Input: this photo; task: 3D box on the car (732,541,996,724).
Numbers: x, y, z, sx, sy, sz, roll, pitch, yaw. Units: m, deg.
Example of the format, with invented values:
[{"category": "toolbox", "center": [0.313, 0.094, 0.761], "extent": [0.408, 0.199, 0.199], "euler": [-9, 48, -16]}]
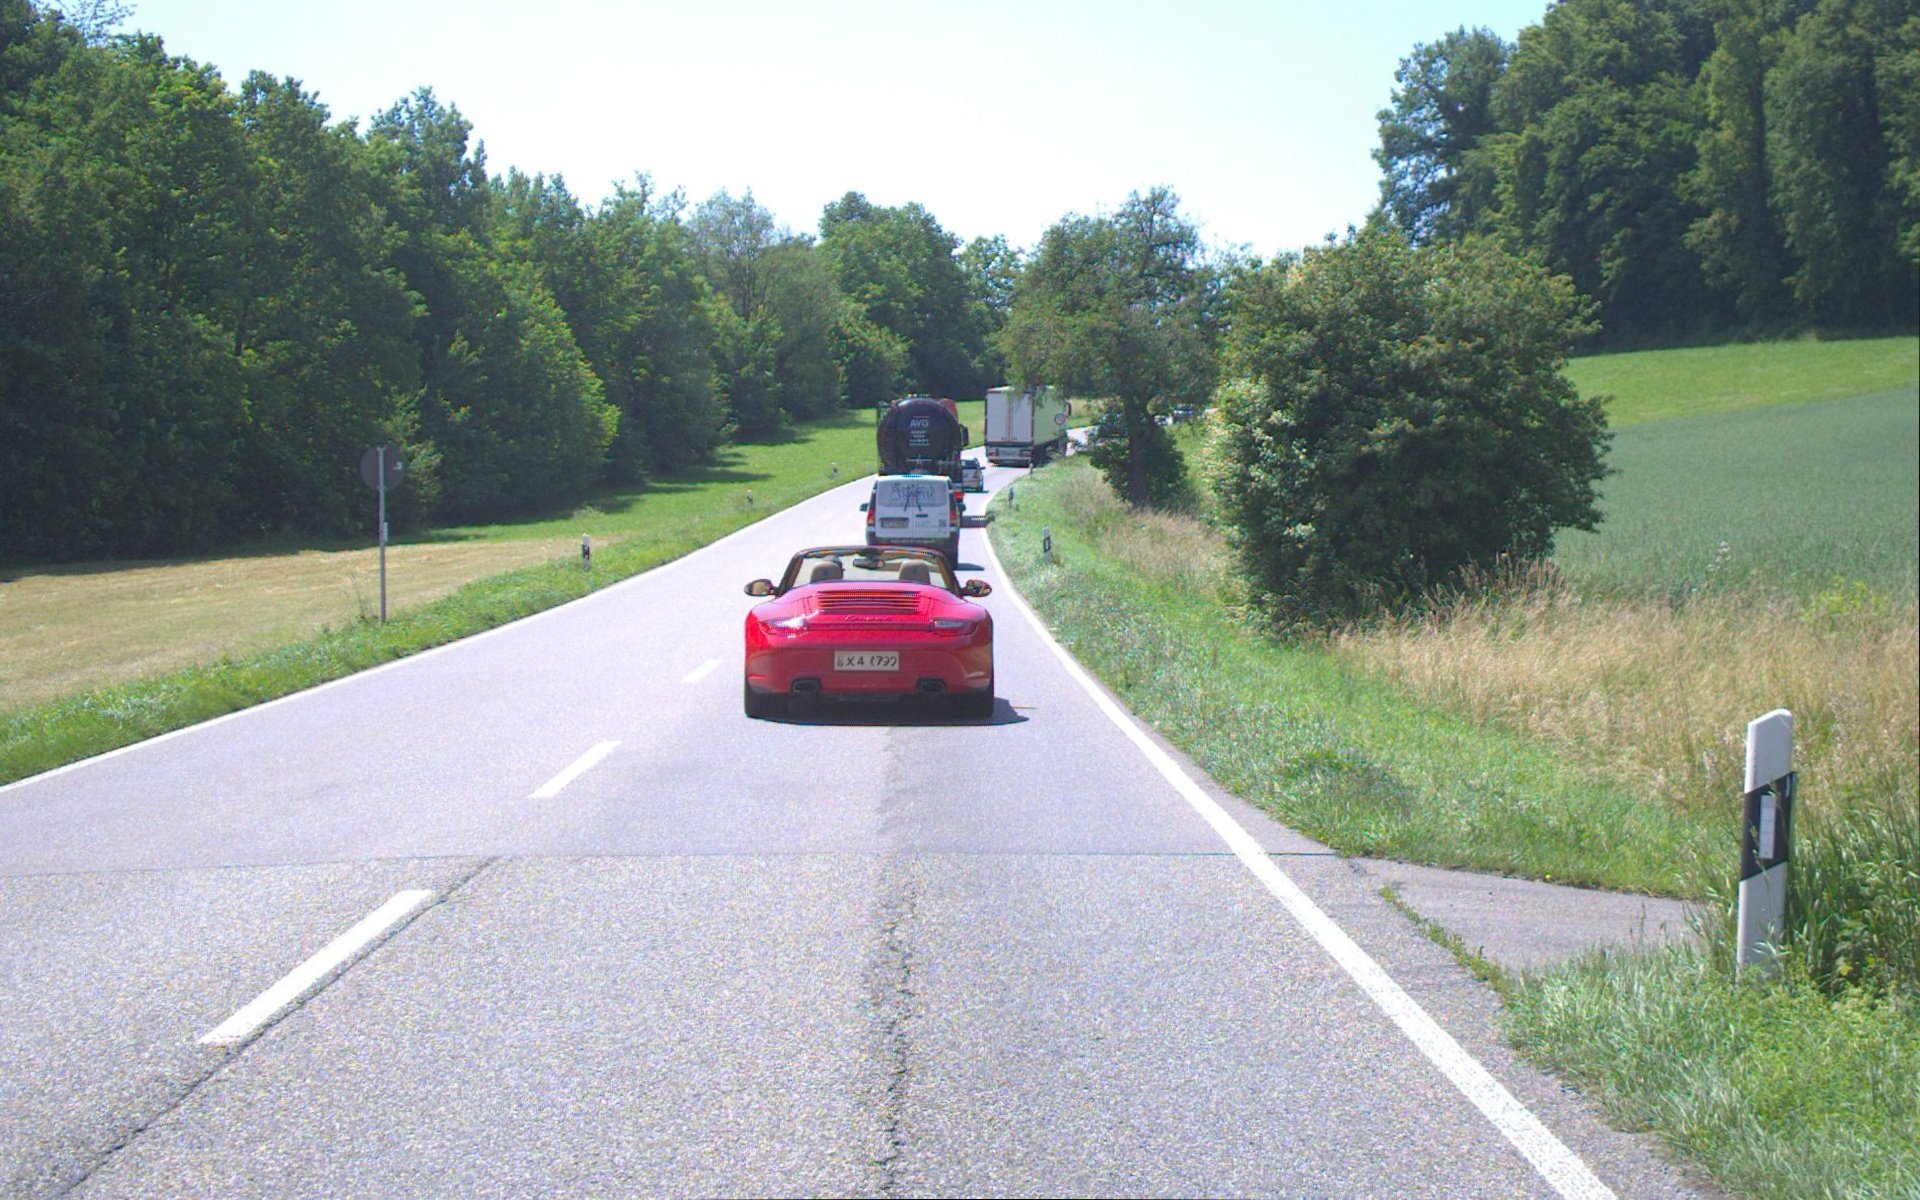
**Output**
[{"category": "car", "center": [-0.704, 0.197, 26.548], "extent": [1.882, 1.250, 4.010], "euler": [0, 2, -1]}]

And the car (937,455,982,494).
[{"category": "car", "center": [0.002, -5.447, 148.665], "extent": [1.831, 1.508, 4.191], "euler": [1, 4, 1]}]

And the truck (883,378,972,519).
[{"category": "truck", "center": [-1.101, -4.750, 107.523], "extent": [2.404, 4.035, 12.552], "euler": [-3, 3, -1]}]

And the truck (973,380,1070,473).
[{"category": "truck", "center": [3.392, -9.445, 185.339], "extent": [3.726, 4.643, 12.030], "euler": [0, 5, 8]}]

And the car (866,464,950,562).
[{"category": "car", "center": [-1.055, -1.830, 70.924], "extent": [1.678, 1.894, 4.010], "euler": [0, 3, -1]}]

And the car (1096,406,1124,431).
[{"category": "car", "center": [9.676, -11.717, 221.720], "extent": [1.698, 1.491, 3.712], "euler": [-3, 4, 3]}]
